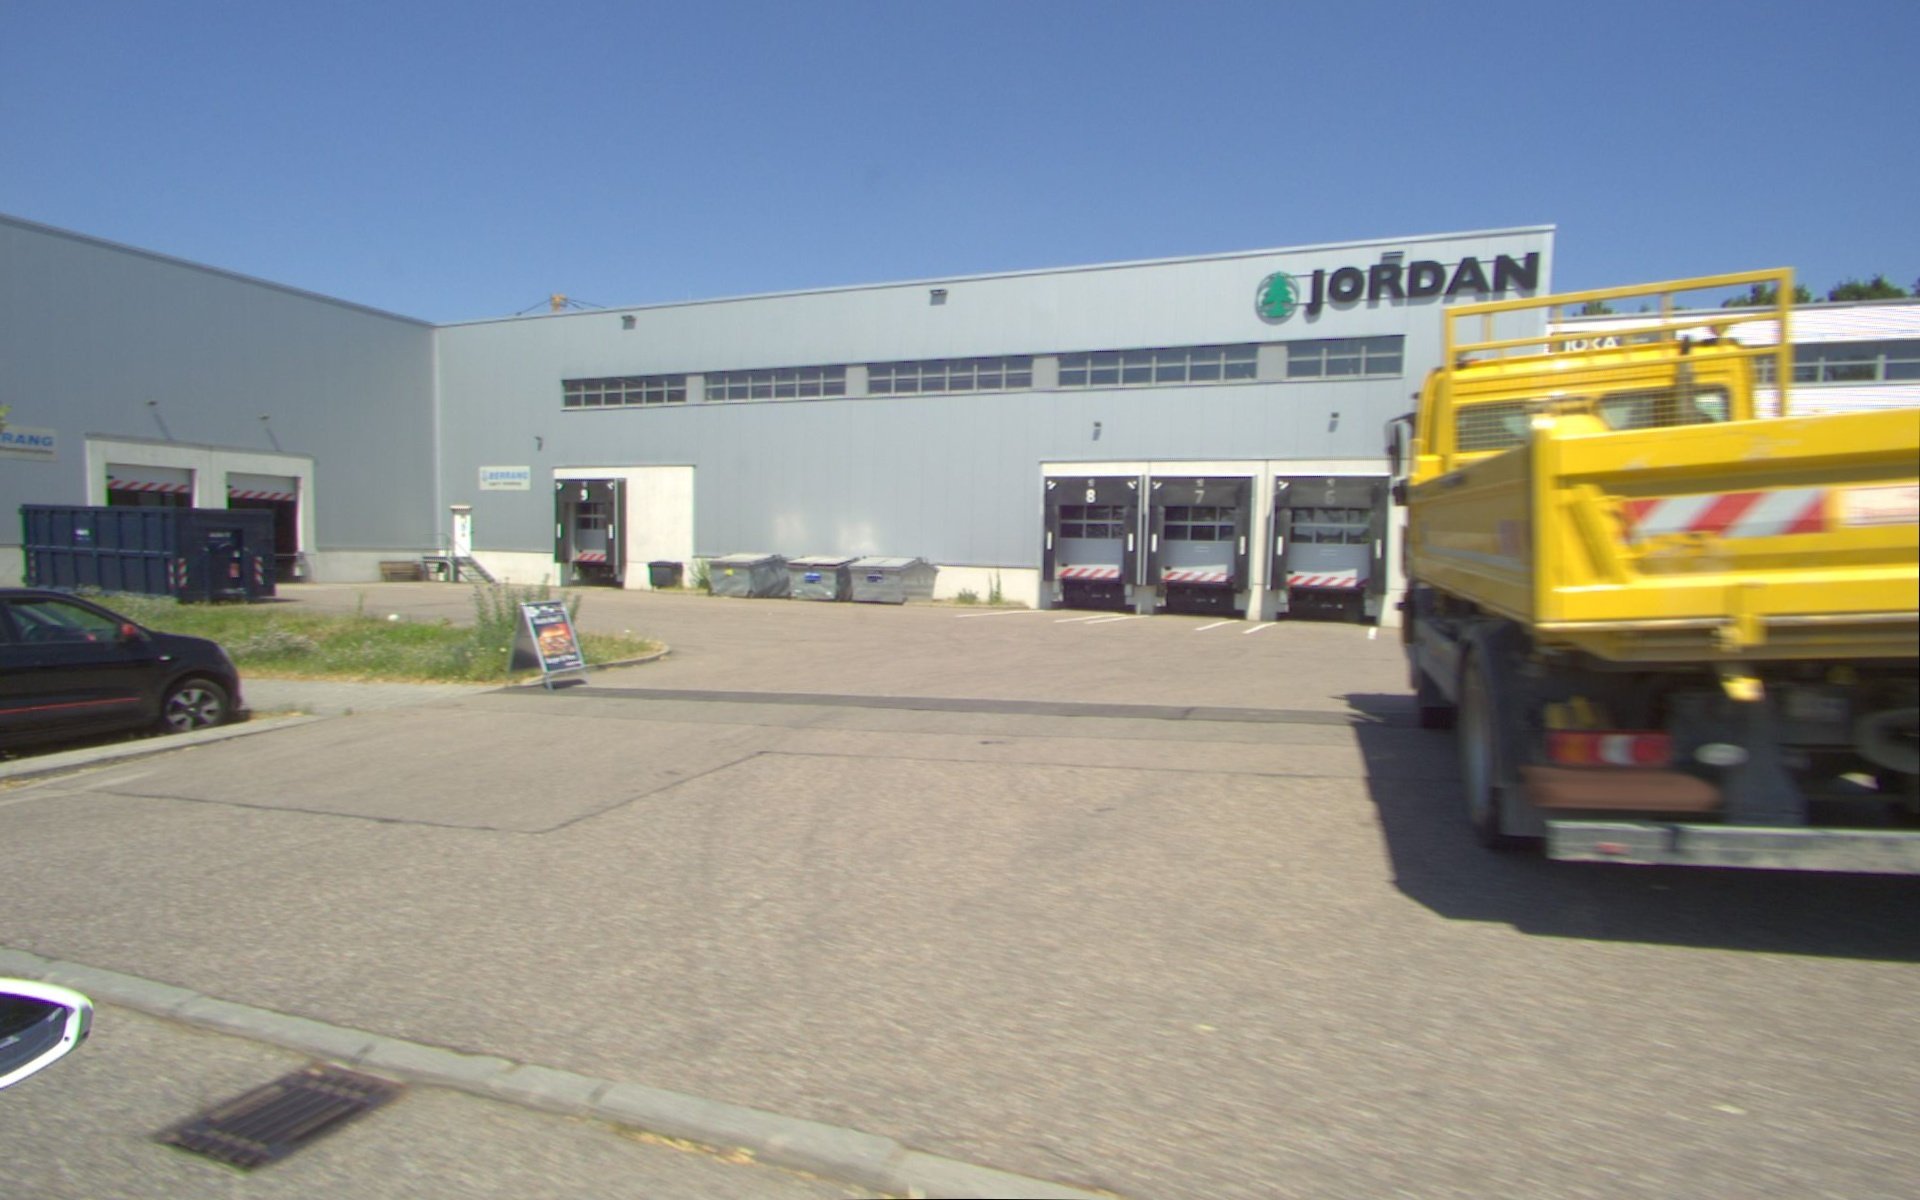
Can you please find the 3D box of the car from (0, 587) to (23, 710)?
[{"bbox_3d":[-13.143,0.682,11.122,1.600,1.499,3.602,1,4,21],"label":"car"}]

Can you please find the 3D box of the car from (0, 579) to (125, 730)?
[{"bbox_3d":[-10.931,0.624,9.894,1.563,1.528,3.771,1,4,21],"label":"car"}]

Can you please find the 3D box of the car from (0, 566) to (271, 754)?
[{"bbox_3d":[-8.749,0.530,9.168,1.599,1.484,3.657,1,5,23],"label":"car"}]

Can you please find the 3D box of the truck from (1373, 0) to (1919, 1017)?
[{"bbox_3d":[4.020,-0.559,5.844,2.550,3.181,6.405,-1,4,19],"label":"truck"}]

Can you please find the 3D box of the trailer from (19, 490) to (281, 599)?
[{"bbox_3d":[-22.236,-1.575,27.447,7.289,2.455,2.657,5,4,25],"label":"trailer"}]
